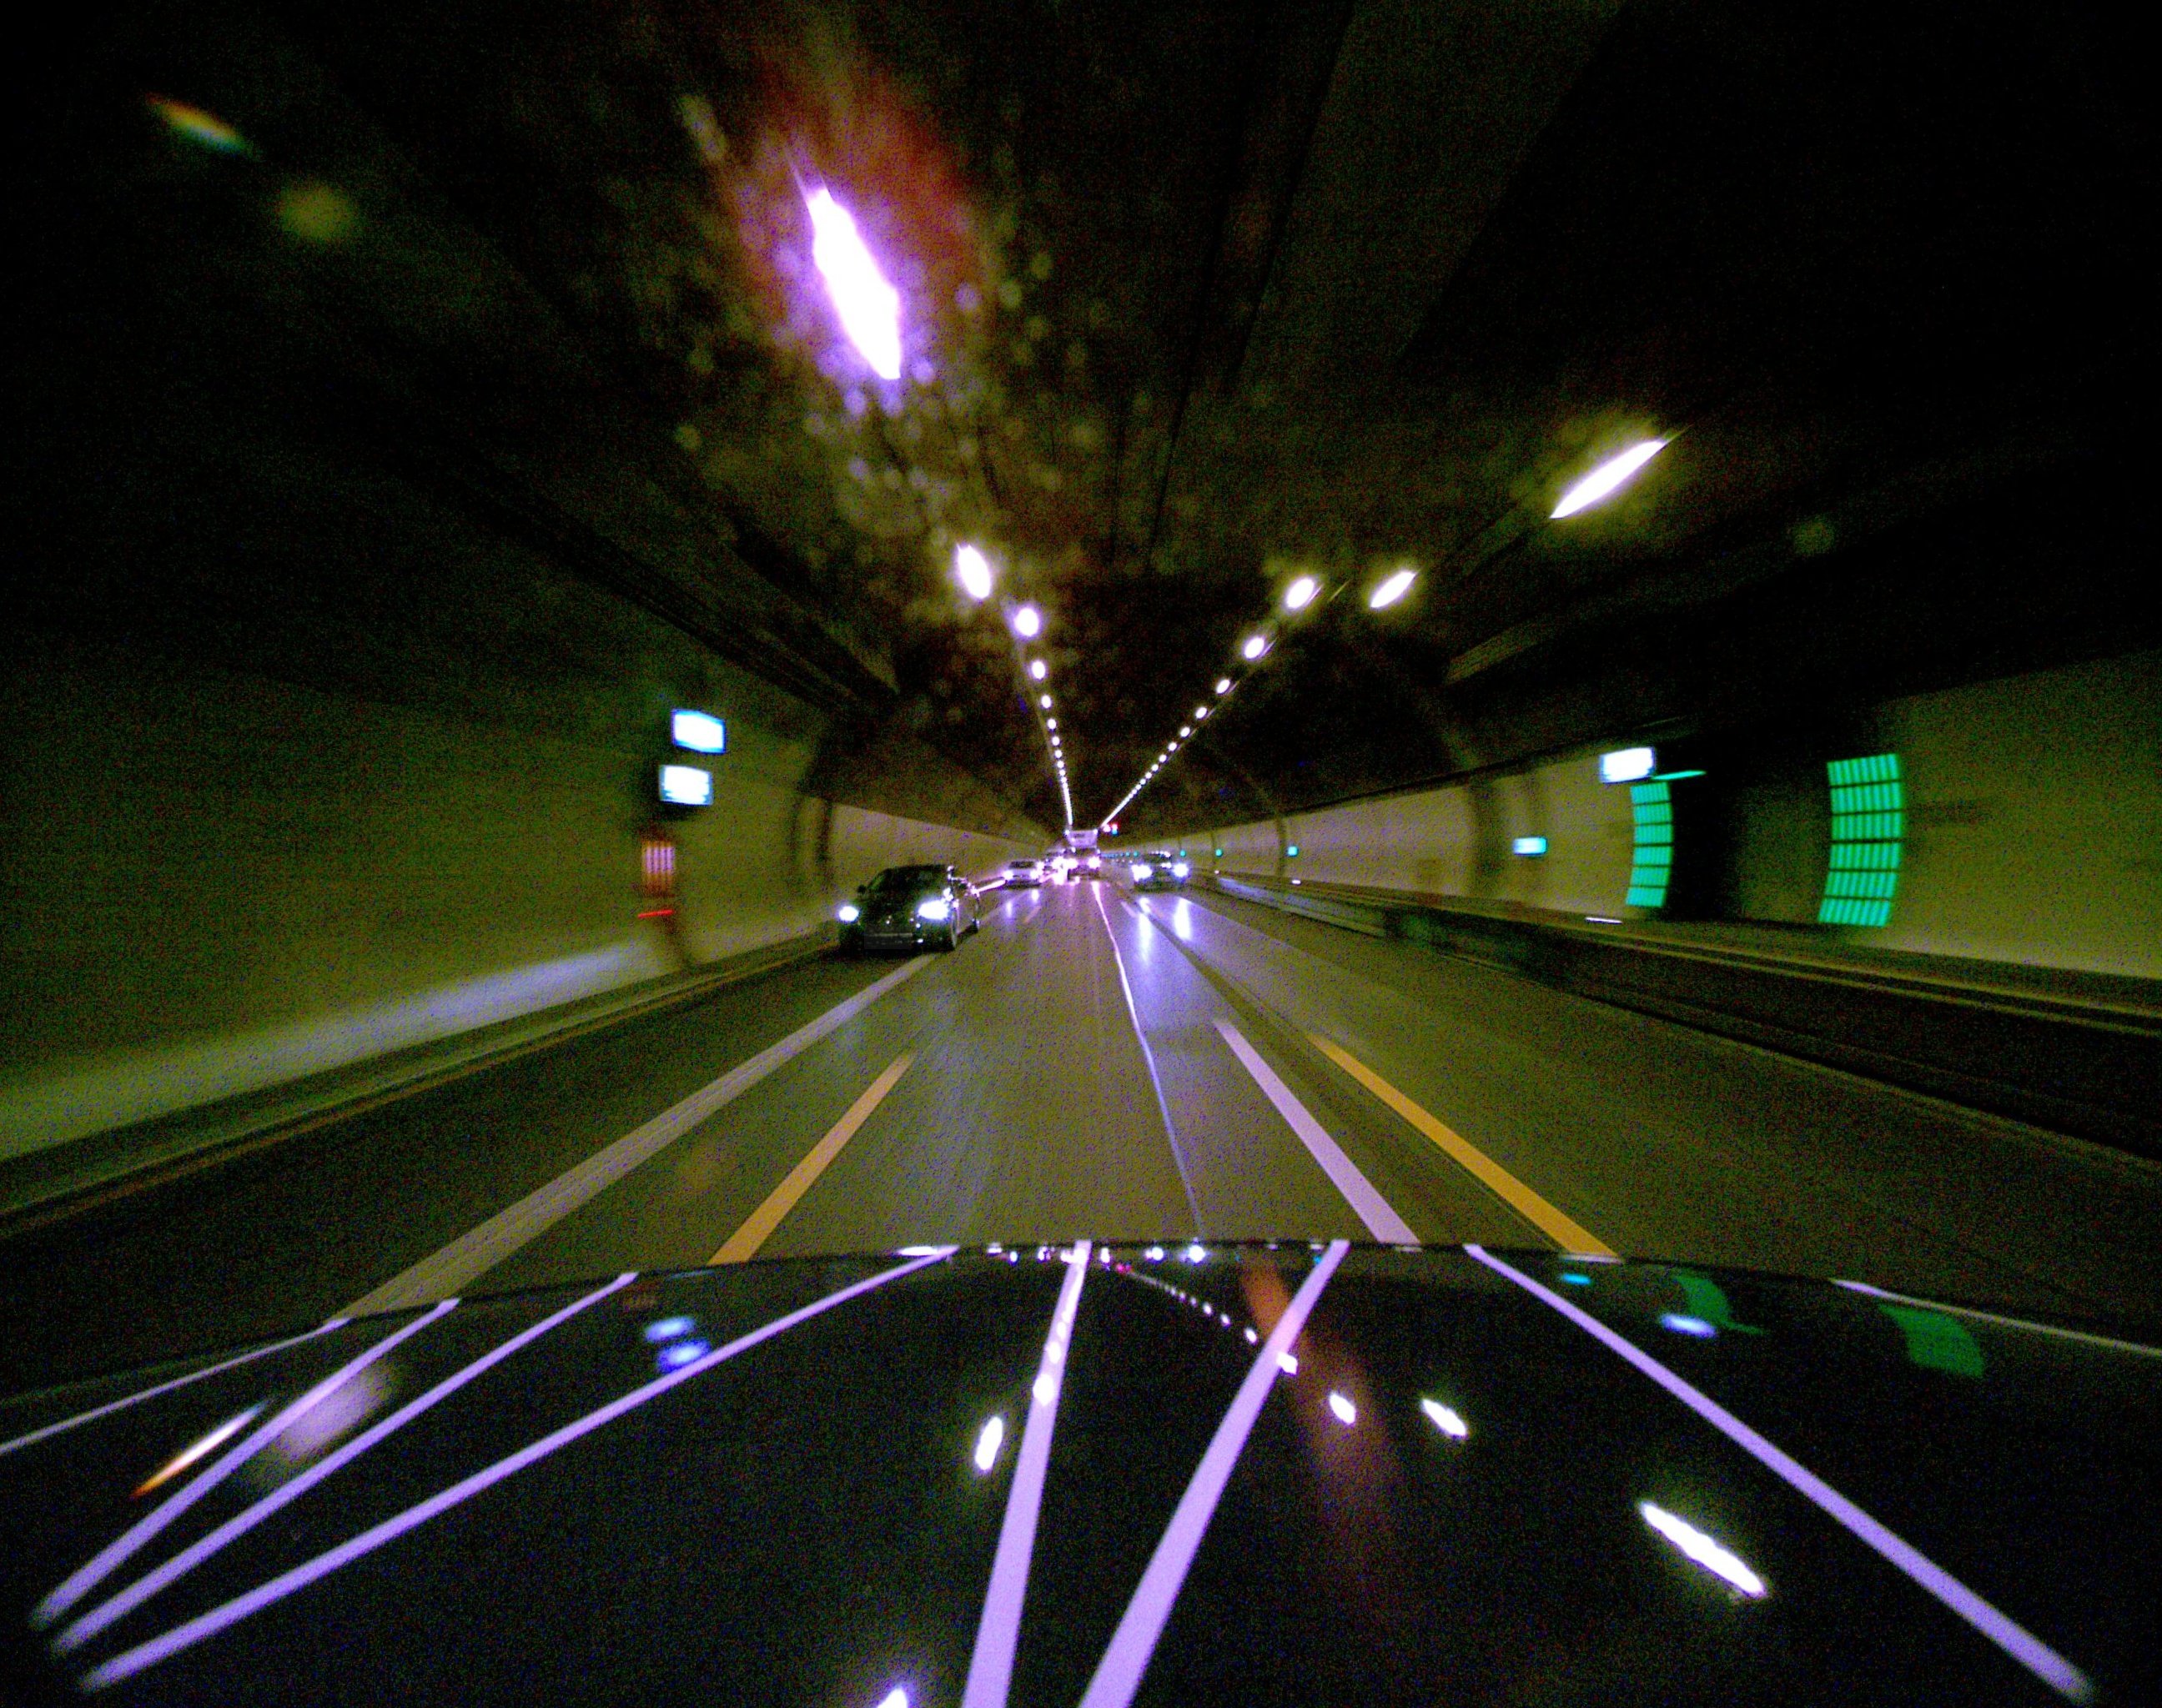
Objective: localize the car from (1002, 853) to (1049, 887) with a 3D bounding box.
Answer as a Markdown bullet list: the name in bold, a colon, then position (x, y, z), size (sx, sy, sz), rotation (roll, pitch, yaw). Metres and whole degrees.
- **car**: position (-2.827, 0.777, 39.775), size (1.998, 1.531, 4.741), rotation (-3, 1, 0)

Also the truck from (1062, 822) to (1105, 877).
- **truck**: position (0.155, -0.287, 51.271), size (2.533, 3.314, 7.715), rotation (-3, 0, 0)

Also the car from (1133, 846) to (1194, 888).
- **car**: position (3.382, 0.484, 32.003), size (1.998, 1.531, 4.741), rotation (-3, 1, 0)

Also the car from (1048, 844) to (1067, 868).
- **car**: position (-2.895, 0.191, 94.504), size (1.998, 2.710, 6.273), rotation (-3, 1, 0)

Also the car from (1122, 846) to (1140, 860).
- **car**: position (6.039, -0.111, 92.208), size (1.998, 1.531, 4.851), rotation (-3, 1, 4)

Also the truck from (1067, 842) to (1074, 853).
- **truck**: position (-3.481, -2.160, 262.219), size (2.208, 3.449, 11.763), rotation (-3, 0, -1)

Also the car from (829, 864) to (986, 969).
- **car**: position (-3.018, 1.020, 14.246), size (1.825, 1.469, 4.521), rotation (-3, 0, 0)

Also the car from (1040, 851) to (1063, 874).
- **car**: position (-2.765, 0.789, 71.756), size (1.999, 2.002, 4.853), rotation (-3, 0, -1)
